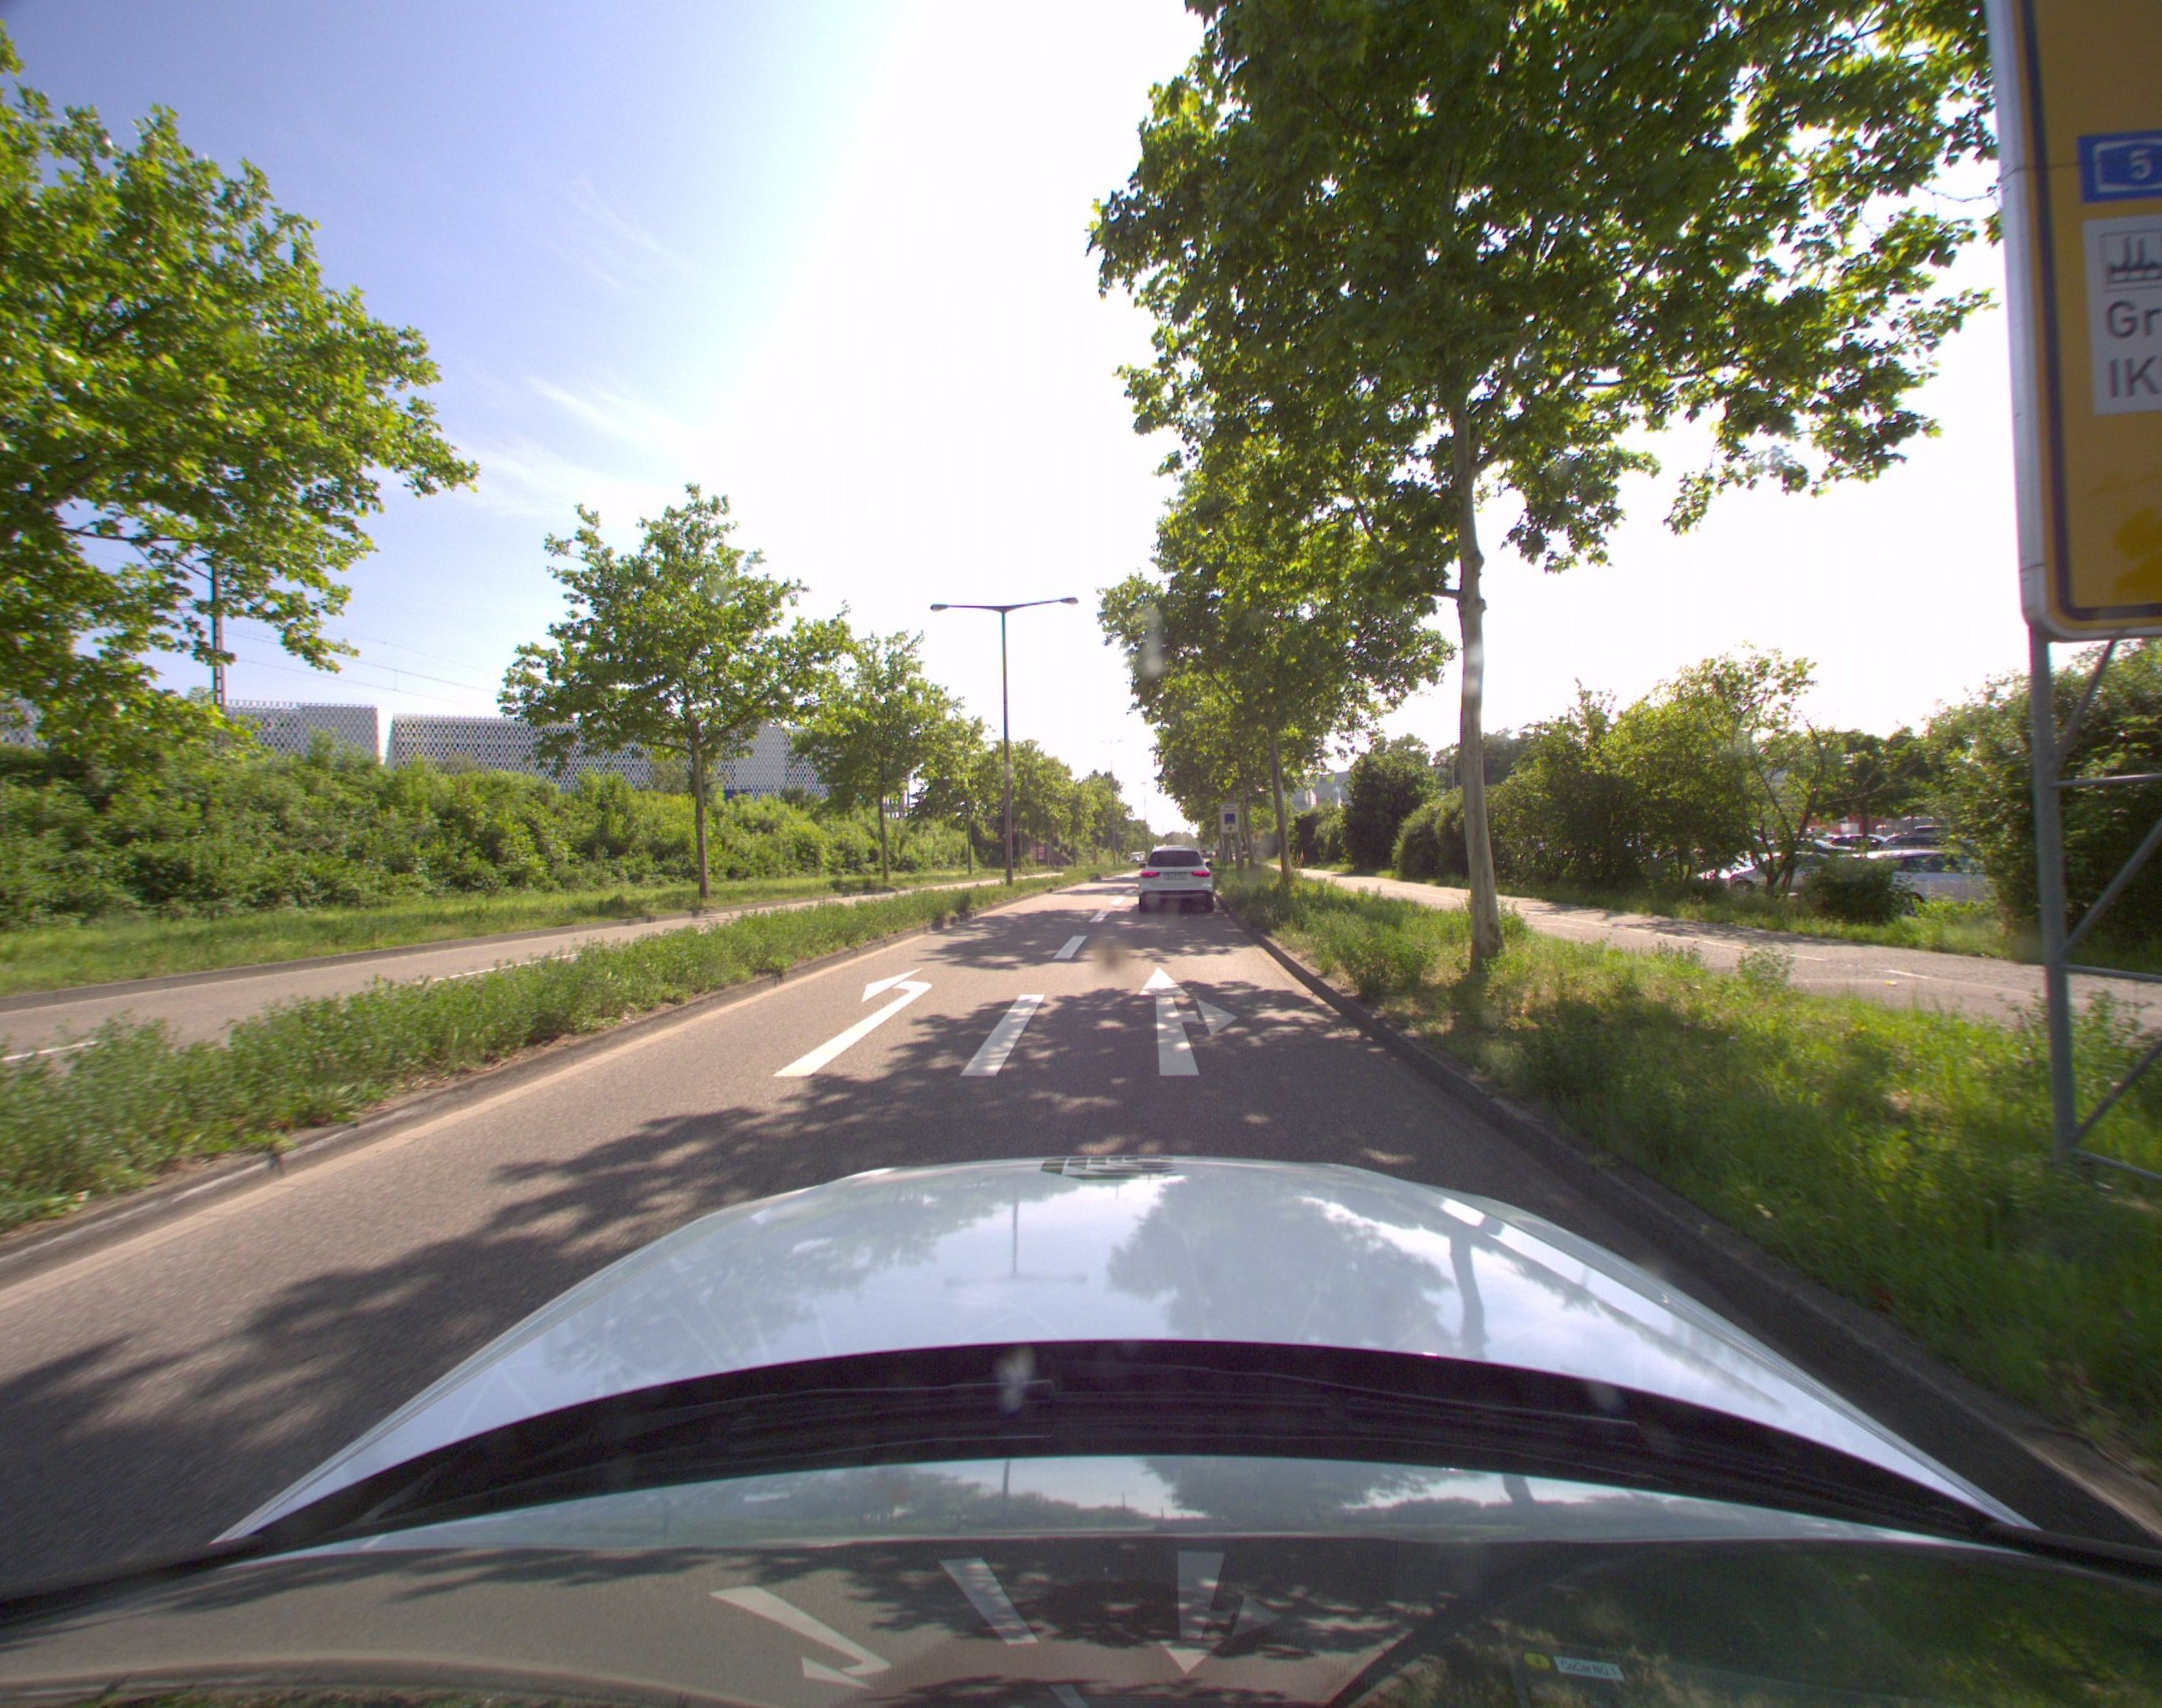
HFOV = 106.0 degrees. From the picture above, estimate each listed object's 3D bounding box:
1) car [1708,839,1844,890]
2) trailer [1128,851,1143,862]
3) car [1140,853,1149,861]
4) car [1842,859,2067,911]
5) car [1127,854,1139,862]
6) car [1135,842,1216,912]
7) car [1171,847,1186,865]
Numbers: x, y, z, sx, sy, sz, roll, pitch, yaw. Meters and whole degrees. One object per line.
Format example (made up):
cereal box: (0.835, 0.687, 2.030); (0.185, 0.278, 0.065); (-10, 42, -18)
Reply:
car: (22.187, 0.337, 26.069); (3.137, 1.455, 1.197); (-3, -1, 6)
trailer: (11.175, 0.563, 166.526); (2.295, 2.265, 5.552); (-2, -1, 9)
car: (14.890, 0.670, 190.439); (1.754, 1.790, 5.390); (0, -1, 9)
car: (21.259, 0.750, 19.925); (3.940, 1.225, 1.197); (0, -1, 6)
car: (10.341, 0.813, 161.618); (1.705, 1.622, 4.372); (-2, -1, 9)
car: (2.405, 0.564, 21.201); (1.845, 1.607, 4.006); (-2, -1, 5)
car: (14.907, 0.259, 124.045); (2.069, 2.656, 4.887); (-1, -1, 9)
